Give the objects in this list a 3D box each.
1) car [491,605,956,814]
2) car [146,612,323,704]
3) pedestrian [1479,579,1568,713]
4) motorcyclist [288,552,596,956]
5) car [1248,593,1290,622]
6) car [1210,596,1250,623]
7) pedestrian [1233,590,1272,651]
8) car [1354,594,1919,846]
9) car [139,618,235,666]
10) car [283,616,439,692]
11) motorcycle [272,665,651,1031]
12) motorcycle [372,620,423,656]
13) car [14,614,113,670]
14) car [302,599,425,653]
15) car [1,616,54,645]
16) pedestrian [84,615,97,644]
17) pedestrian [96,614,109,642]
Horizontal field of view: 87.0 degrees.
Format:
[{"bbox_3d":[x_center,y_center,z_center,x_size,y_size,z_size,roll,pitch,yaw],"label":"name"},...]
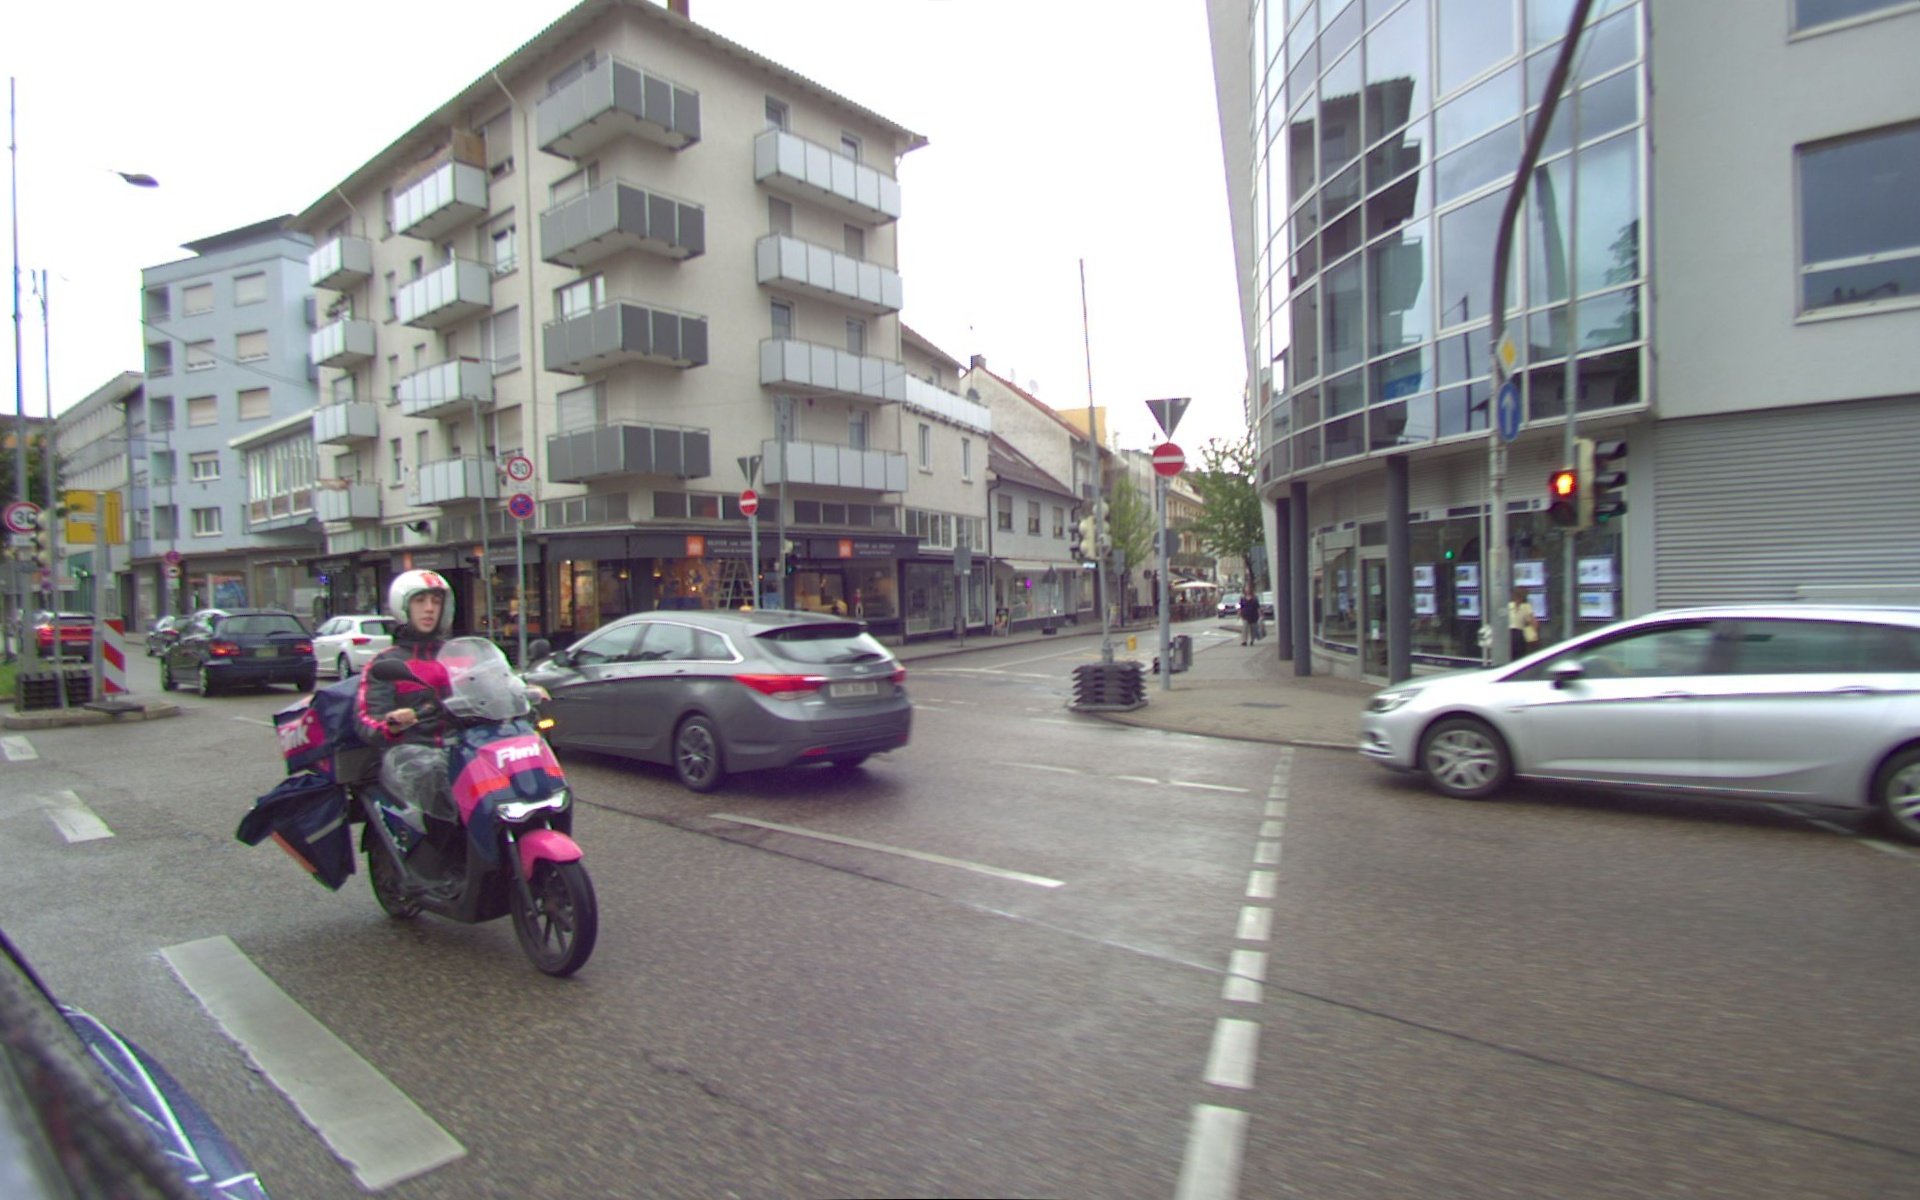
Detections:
[{"bbox_3d":[-2.398,0.818,9.468,4.644,1.485,1.834,-1,-1,40],"label":"car"},{"bbox_3d":[-14.052,1.040,19.517,4.281,1.555,1.811,-1,-1,41],"label":"car"},{"bbox_3d":[7.119,0.564,12.792,0.832,1.620,0.617,-2,-1,42],"label":"pedestrian"},{"bbox_3d":[-2.229,0.570,4.391,0.863,1.504,0.906,0,0,36],"label":"motorcyclist"},{"bbox_3d":[19.010,0.441,62.190,1.988,1.659,3.968,-1,1,24],"label":"car"},{"bbox_3d":[18.068,0.595,67.592,1.987,1.659,3.969,-1,1,23],"label":"car"},{"bbox_3d":[8.384,0.587,28.986,0.890,1.665,0.559,-5,-2,22],"label":"pedestrian"},{"bbox_3d":[5.506,0.748,7.353,4.597,1.485,1.910,-1,-2,38],"label":"car"},{"bbox_3d":[-26.677,1.417,34.882,3.998,1.508,1.828,-1,0,41],"label":"car"},{"bbox_3d":[-13.677,1.166,23.014,4.280,1.535,1.754,-1,-1,40],"label":"car"},{"bbox_3d":[-2.243,0.921,4.402,2.098,1.200,0.582,-1,-1,37],"label":"motorcycle"},{"bbox_3d":[-18.364,1.228,33.032,2.194,1.095,0.662,0,3,40],"label":"motorcycle"},{"bbox_3d":[-28.134,1.281,31.713,4.088,1.606,1.828,-1,-1,41],"label":"car"},{"bbox_3d":[-24.299,1.020,41.309,1.894,2.070,3.945,-1,0,41],"label":"car"},{"bbox_3d":[-53.953,1.778,58.540,4.023,1.601,1.754,-2,-2,40],"label":"car"},{"bbox_3d":[-51.865,1.781,60.373,0.531,1.701,0.520,1,0,41],"label":"pedestrian"},{"bbox_3d":[-51.532,1.672,60.798,0.531,1.701,0.506,1,0,41],"label":"pedestrian"}]
